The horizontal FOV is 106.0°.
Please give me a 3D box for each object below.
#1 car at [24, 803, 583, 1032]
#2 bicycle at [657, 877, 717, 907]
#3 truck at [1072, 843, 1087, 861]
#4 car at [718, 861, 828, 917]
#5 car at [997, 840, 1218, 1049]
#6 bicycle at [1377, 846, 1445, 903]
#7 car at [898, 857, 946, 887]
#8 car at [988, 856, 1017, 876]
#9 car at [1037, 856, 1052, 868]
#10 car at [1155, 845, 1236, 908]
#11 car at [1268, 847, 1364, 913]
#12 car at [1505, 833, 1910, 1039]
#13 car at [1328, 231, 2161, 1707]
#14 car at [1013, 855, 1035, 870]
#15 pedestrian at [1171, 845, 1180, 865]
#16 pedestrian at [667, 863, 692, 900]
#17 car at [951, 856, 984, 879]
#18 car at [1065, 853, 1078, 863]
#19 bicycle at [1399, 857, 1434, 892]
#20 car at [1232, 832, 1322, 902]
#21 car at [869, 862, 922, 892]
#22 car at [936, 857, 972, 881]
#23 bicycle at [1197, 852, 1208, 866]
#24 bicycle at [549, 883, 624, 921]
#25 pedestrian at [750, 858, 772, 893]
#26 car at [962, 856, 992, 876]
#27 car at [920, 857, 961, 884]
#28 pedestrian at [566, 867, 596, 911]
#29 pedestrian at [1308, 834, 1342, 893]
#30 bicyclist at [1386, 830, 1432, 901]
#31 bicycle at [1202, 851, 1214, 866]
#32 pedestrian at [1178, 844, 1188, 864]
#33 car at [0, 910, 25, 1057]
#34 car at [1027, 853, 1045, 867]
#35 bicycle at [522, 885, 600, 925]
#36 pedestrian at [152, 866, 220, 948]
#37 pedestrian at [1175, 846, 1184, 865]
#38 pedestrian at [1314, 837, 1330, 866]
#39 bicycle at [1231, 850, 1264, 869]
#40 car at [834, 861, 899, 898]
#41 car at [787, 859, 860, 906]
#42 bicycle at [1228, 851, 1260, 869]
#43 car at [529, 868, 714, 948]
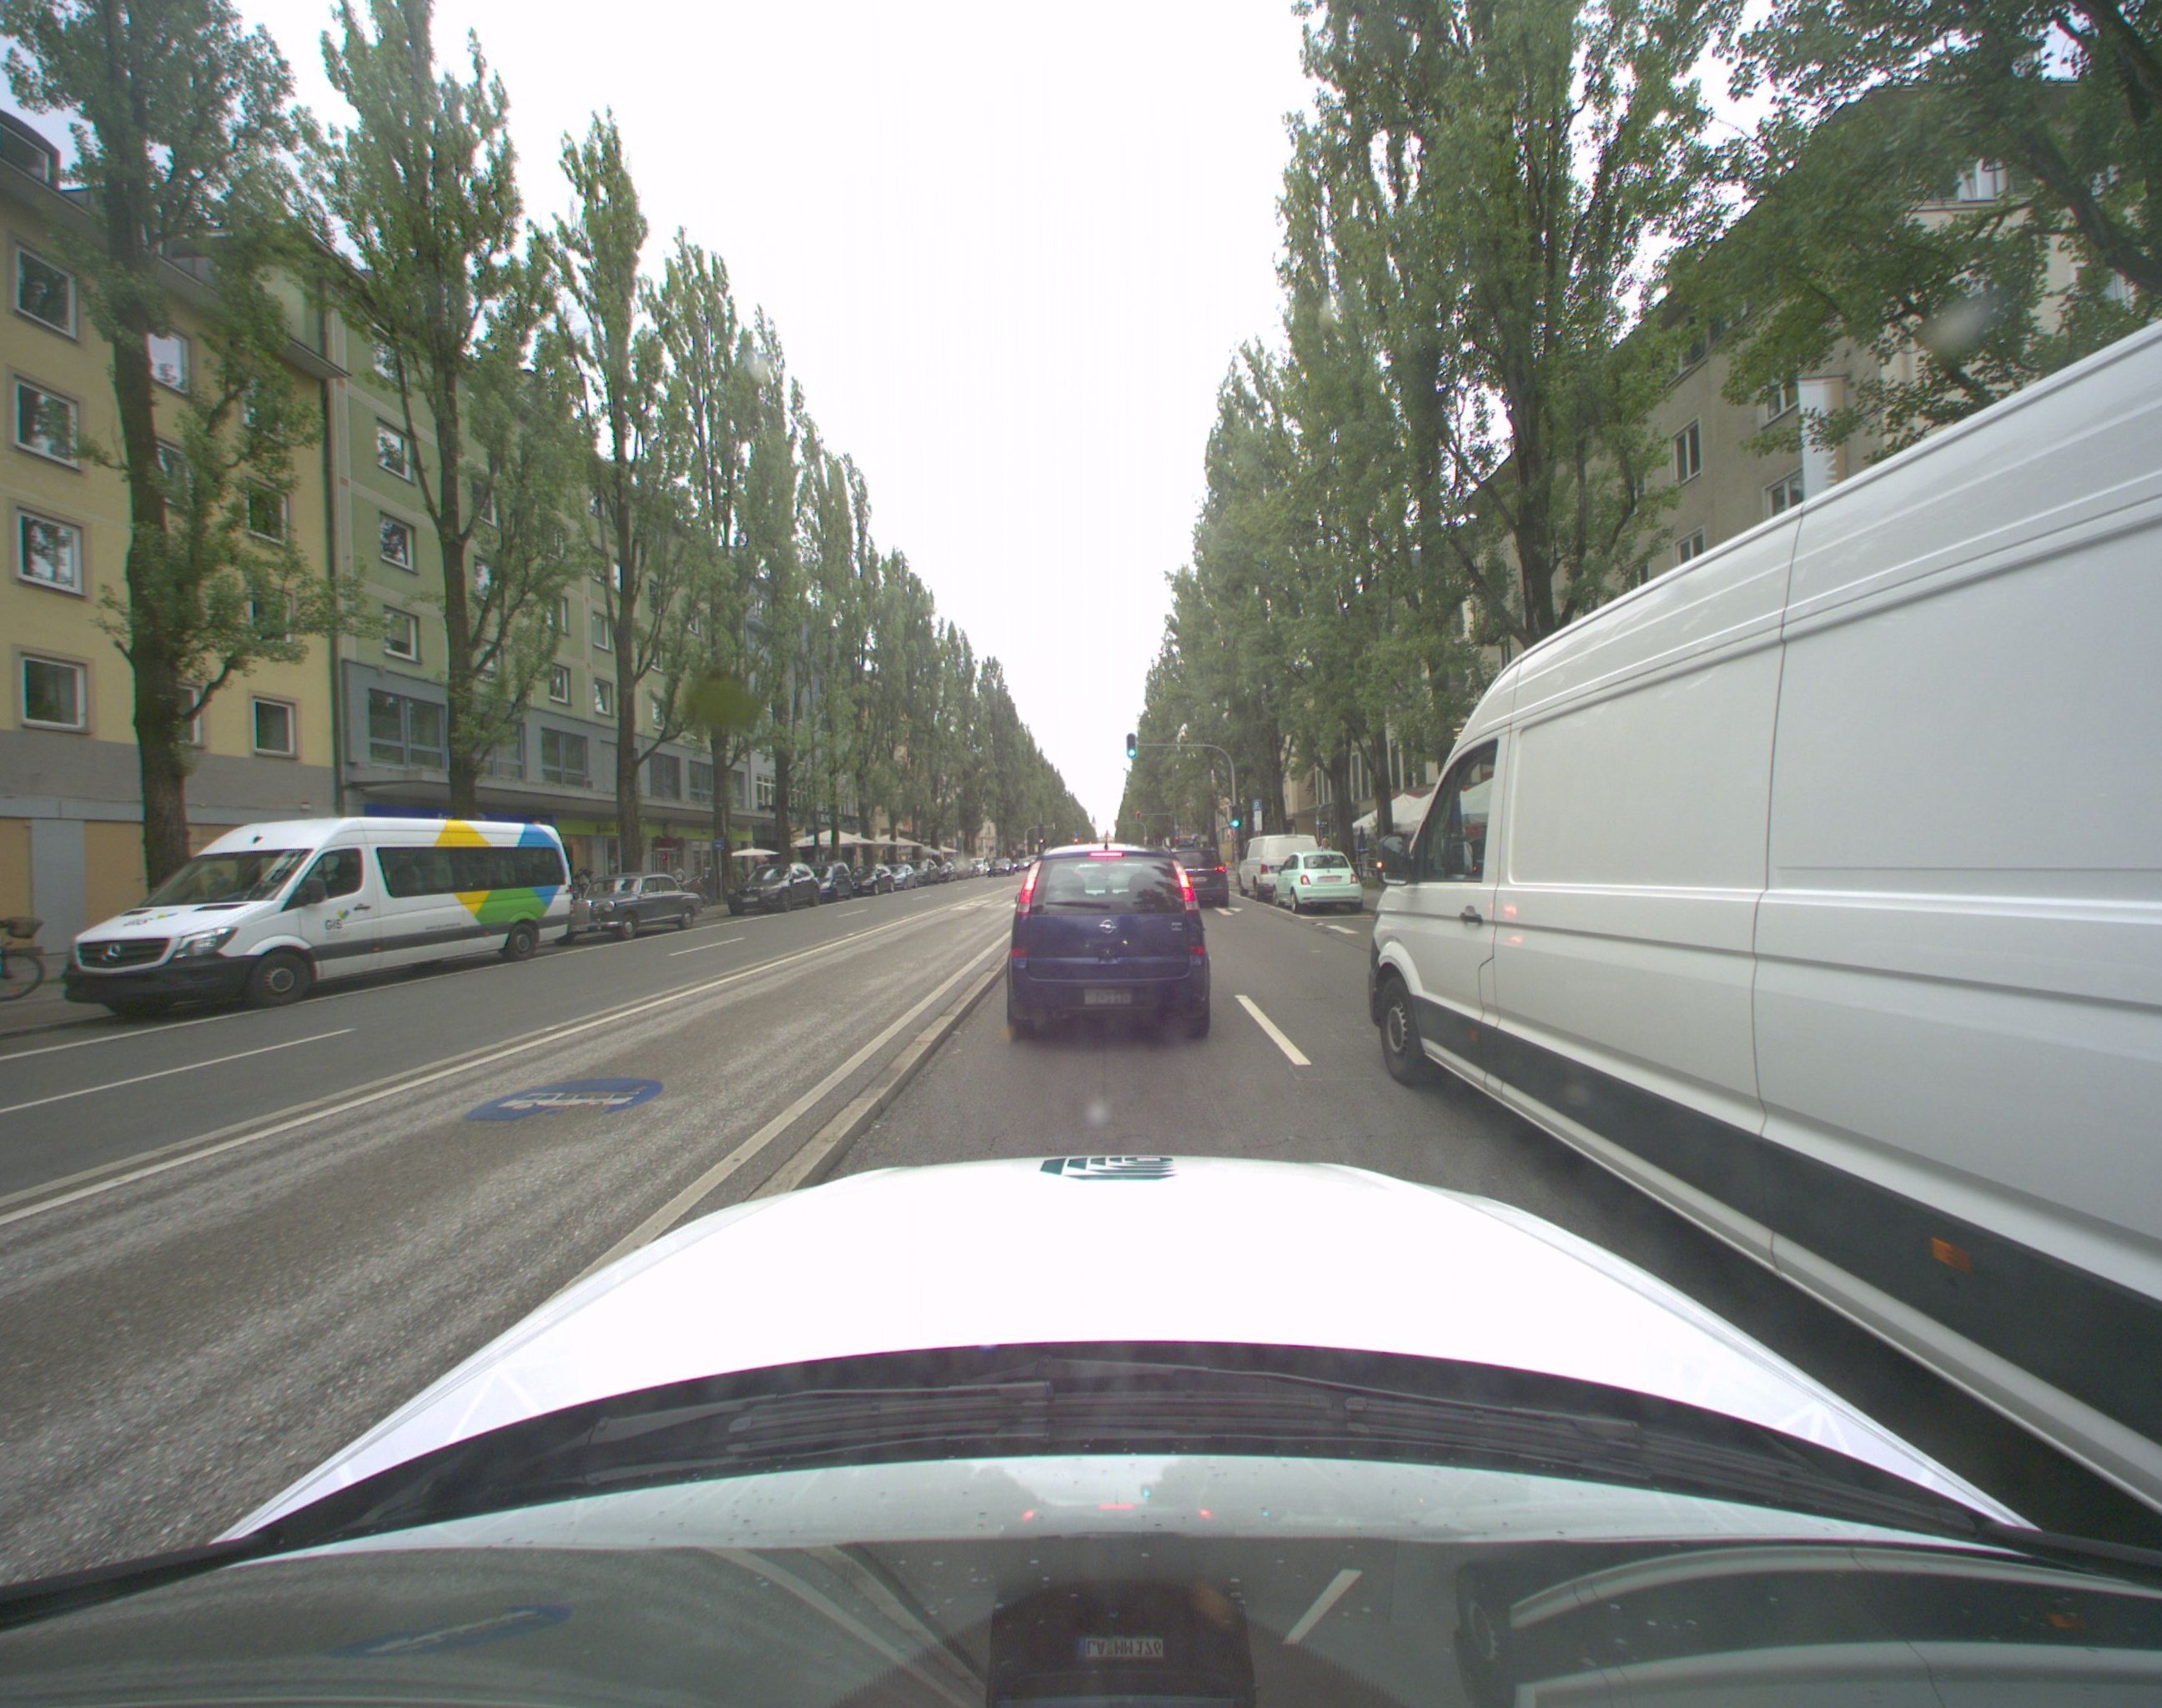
[{"bbox_3d":[-11.262,0.739,13.030,1.998,2.567,6.915,-4,0,2],"label":"car"},{"bbox_3d":[-15.160,1.465,31.387,1.943,1.095,0.718,0,0,-5],"label":"bicycle"},{"bbox_3d":[-0.240,-0.373,155.992,2.374,3.346,7.114,-2,0,2],"label":"truck"},{"bbox_3d":[-10.620,1.143,28.453,1.859,1.664,4.613,-4,0,2],"label":"car"},{"bbox_3d":[0.274,0.687,8.234,1.665,1.568,4.002,-1,0,2],"label":"car"},{"bbox_3d":[8.432,0.497,20.955,0.769,1.349,2.450,-2,0,1],"label":"bicycle"},{"bbox_3d":[-9.780,1.069,50.297,1.859,1.665,4.402,-4,0,2],"label":"car"},{"bbox_3d":[-6.445,0.991,67.568,1.691,1.462,4.715,-4,0,2],"label":"car"},{"bbox_3d":[-5.503,1.145,122.313,1.859,1.665,4.122,-2,0,2],"label":"car"},{"bbox_3d":[3.196,0.584,23.462,1.889,1.622,4.002,-1,0,2],"label":"car"},{"bbox_3d":[5.838,0.607,20.624,1.535,1.492,3.525,-1,0,2],"label":"car"},{"bbox_3d":[5.387,0.605,7.438,1.587,1.518,2.729,-1,0,0],"label":"car"},{"bbox_3d":[2.850,0.219,2.952,2.055,2.492,6.734,-1,0,2],"label":"car"},{"bbox_3d":[-5.807,0.840,83.522,1.739,1.434,4.131,-4,0,2],"label":"car"},{"bbox_3d":[8.879,0.084,76.260,0.636,1.827,0.885,0,-1,-8],"label":"pedestrian"},{"bbox_3d":[-18.868,1.276,38.251,0.753,1.686,0.675,-3,-1,3],"label":"pedestrian"},{"bbox_3d":[-9.307,1.074,67.152,1.859,1.665,4.122,-4,0,2],"label":"car"},{"bbox_3d":[-1.429,0.638,126.272,1.728,1.465,3.366,-2,0,2],"label":"car"},{"bbox_3d":[9.894,0.590,24.071,0.348,0.996,1.453,-4,-1,-2],"label":"bicycle"},{"bbox_3d":[6.056,0.357,25.669,1.781,1.946,4.732,-2,0,2],"label":"car"},{"bbox_3d":[-10.076,1.213,44.594,1.727,1.425,4.145,-4,0,2],"label":"car"},{"bbox_3d":[-9.588,1.094,61.628,1.859,1.665,4.122,-4,0,2],"label":"car"},{"bbox_3d":[12.274,0.469,82.277,0.769,1.349,2.450,-2,0,1],"label":"bicycle"},{"bbox_3d":[-15.219,1.472,25.084,1.860,1.095,0.720,0,0,4],"label":"bicycle"},{"bbox_3d":[-15.913,1.076,40.469,0.753,1.686,0.675,-3,-1,3],"label":"pedestrian"},{"bbox_3d":[-9.207,1.046,72.415,1.859,1.665,4.122,-4,0,2],"label":"car"},{"bbox_3d":[-9.700,1.095,56.520,1.859,1.665,4.122,-4,0,2],"label":"car"},{"bbox_3d":[-20.115,1.397,32.768,0.670,1.686,0.759,-3,-1,3],"label":"pedestrian"},{"bbox_3d":[7.600,0.278,25.353,0.823,1.773,0.872,-2,0,7],"label":"pedestrian"},{"bbox_3d":[8.432,0.288,20.957,0.764,1.766,0.885,-2,0,1],"label":"bicyclist"},{"bbox_3d":[11.880,0.391,76.095,0.769,1.349,2.450,-2,0,1],"label":"bicycle"},{"bbox_3d":[9.597,-0.023,76.428,0.719,1.827,0.885,0,-1,-8],"label":"pedestrian"},{"bbox_3d":[-11.522,1.332,6.075,1.731,1.419,4.150,-4,0,2],"label":"car"},{"bbox_3d":[-5.390,0.716,98.389,1.764,1.635,4.456,-3,0,1],"label":"car"},{"bbox_3d":[-15.227,1.478,23.866,1.860,1.095,0.720,0,0,4],"label":"bicycle"},{"bbox_3d":[-20.464,1.188,18.629,0.694,1.795,0.728,-3,0,6],"label":"pedestrian"},{"bbox_3d":[9.743,0.152,80.487,0.636,1.827,0.885,0,-1,-8],"label":"pedestrian"},{"bbox_3d":[14.836,-0.151,50.098,0.671,1.686,0.758,-3,-1,-3],"label":"pedestrian"},{"bbox_3d":[11.952,0.398,58.441,2.220,1.204,0.626,-3,0,-1],"label":"bicycle"},{"bbox_3d":[-10.278,1.187,39.395,1.792,1.488,4.352,-4,0,2],"label":"car"},{"bbox_3d":[-10.620,1.121,33.853,1.704,1.721,3.920,-4,0,-1],"label":"car"},{"bbox_3d":[11.973,0.428,59.820,2.220,1.204,0.626,-3,0,-1],"label":"bicycle"},{"bbox_3d":[-11.103,1.230,20.128,1.859,1.552,4.416,-4,0,2],"label":"car"}]
